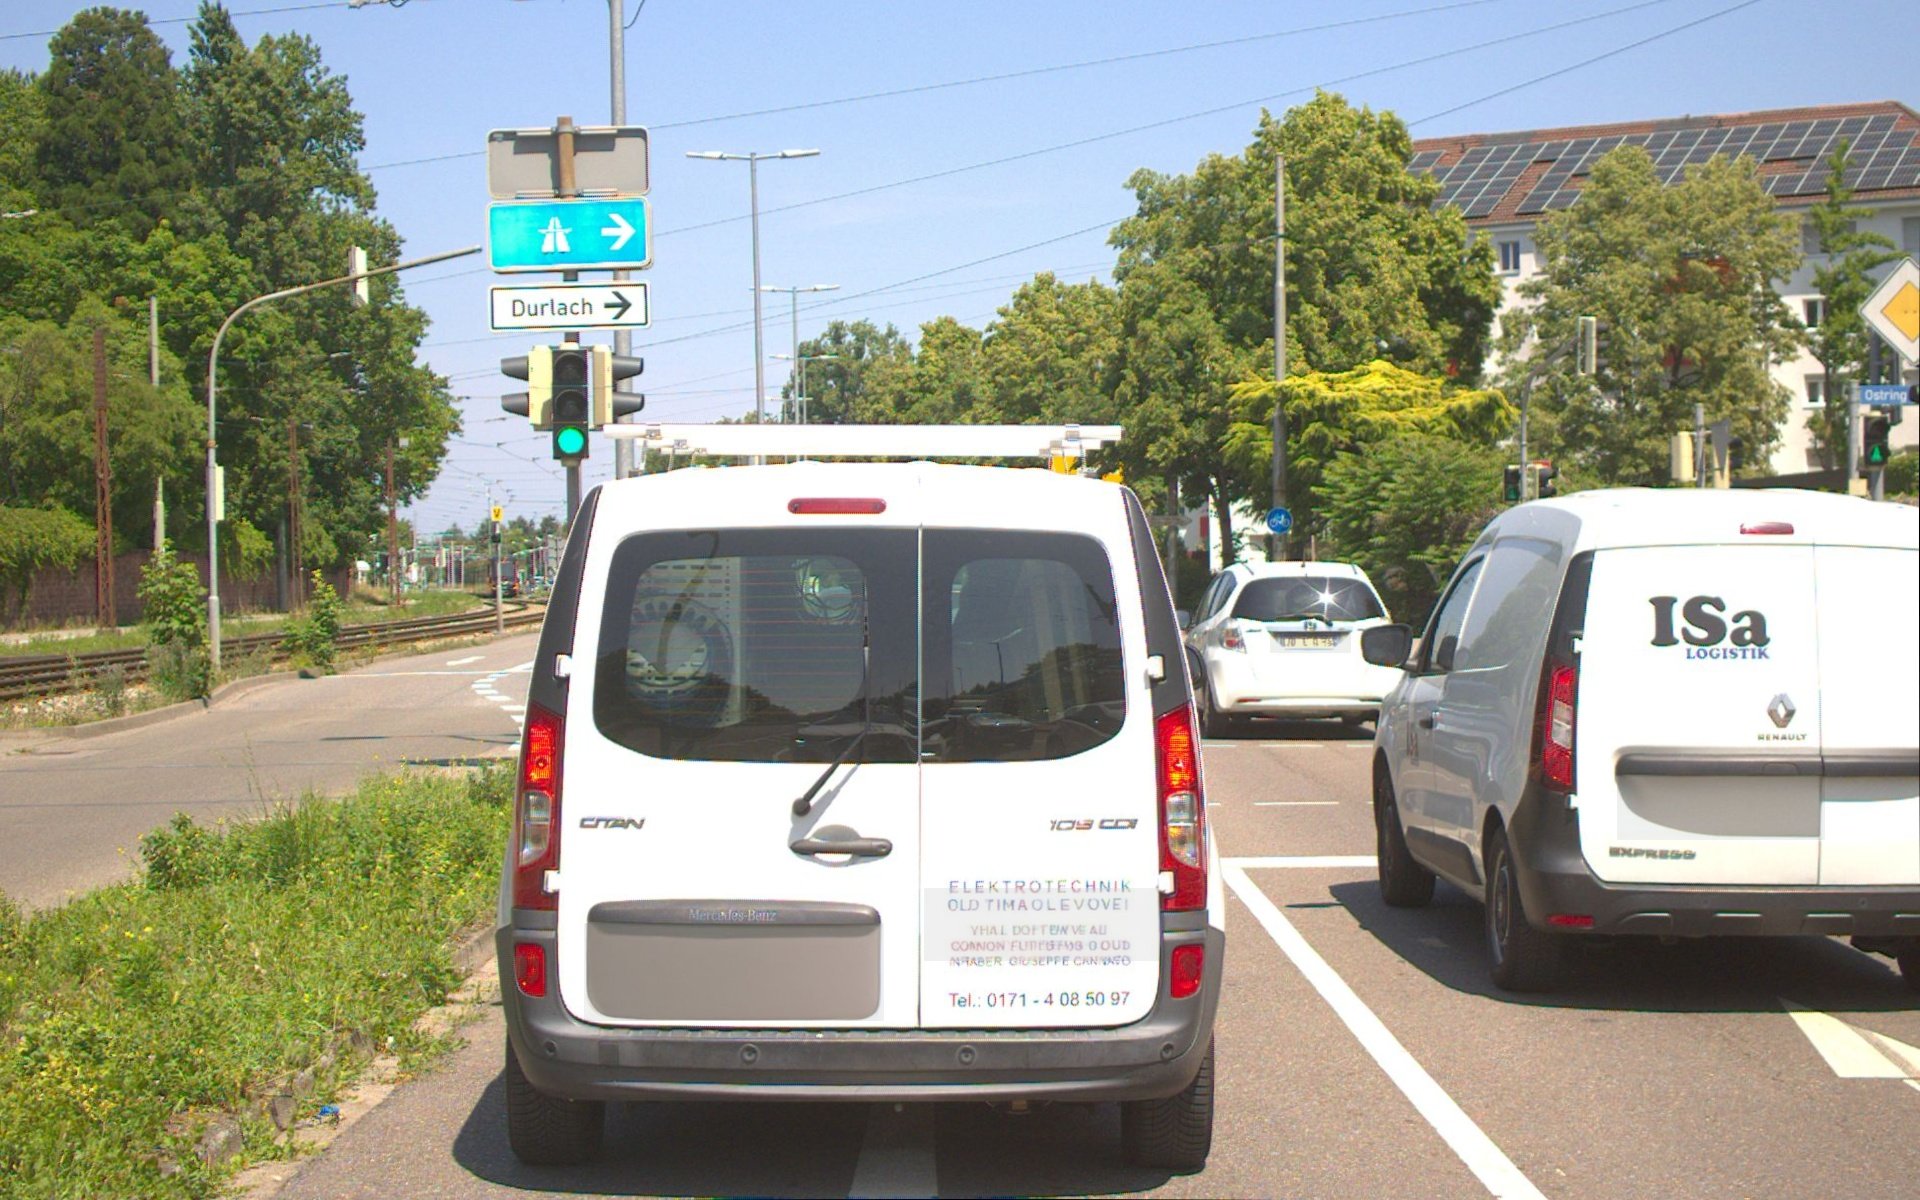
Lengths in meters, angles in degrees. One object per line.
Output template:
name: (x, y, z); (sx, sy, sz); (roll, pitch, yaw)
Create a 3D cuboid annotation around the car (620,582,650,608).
car: (-20.181, -0.311, 213.559); (1.697, 1.507, 4.067); (-1, 1, -7)

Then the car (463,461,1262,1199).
car: (-0.252, 0.526, 10.052); (1.821, 1.734, 4.396); (0, 1, -1)

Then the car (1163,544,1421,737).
car: (2.882, 0.306, 30.633); (1.835, 1.563, 4.000); (1, 1, -1)

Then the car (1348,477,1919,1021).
car: (2.673, 0.480, 13.402); (1.727, 1.782, 4.065); (1, 0, -2)
